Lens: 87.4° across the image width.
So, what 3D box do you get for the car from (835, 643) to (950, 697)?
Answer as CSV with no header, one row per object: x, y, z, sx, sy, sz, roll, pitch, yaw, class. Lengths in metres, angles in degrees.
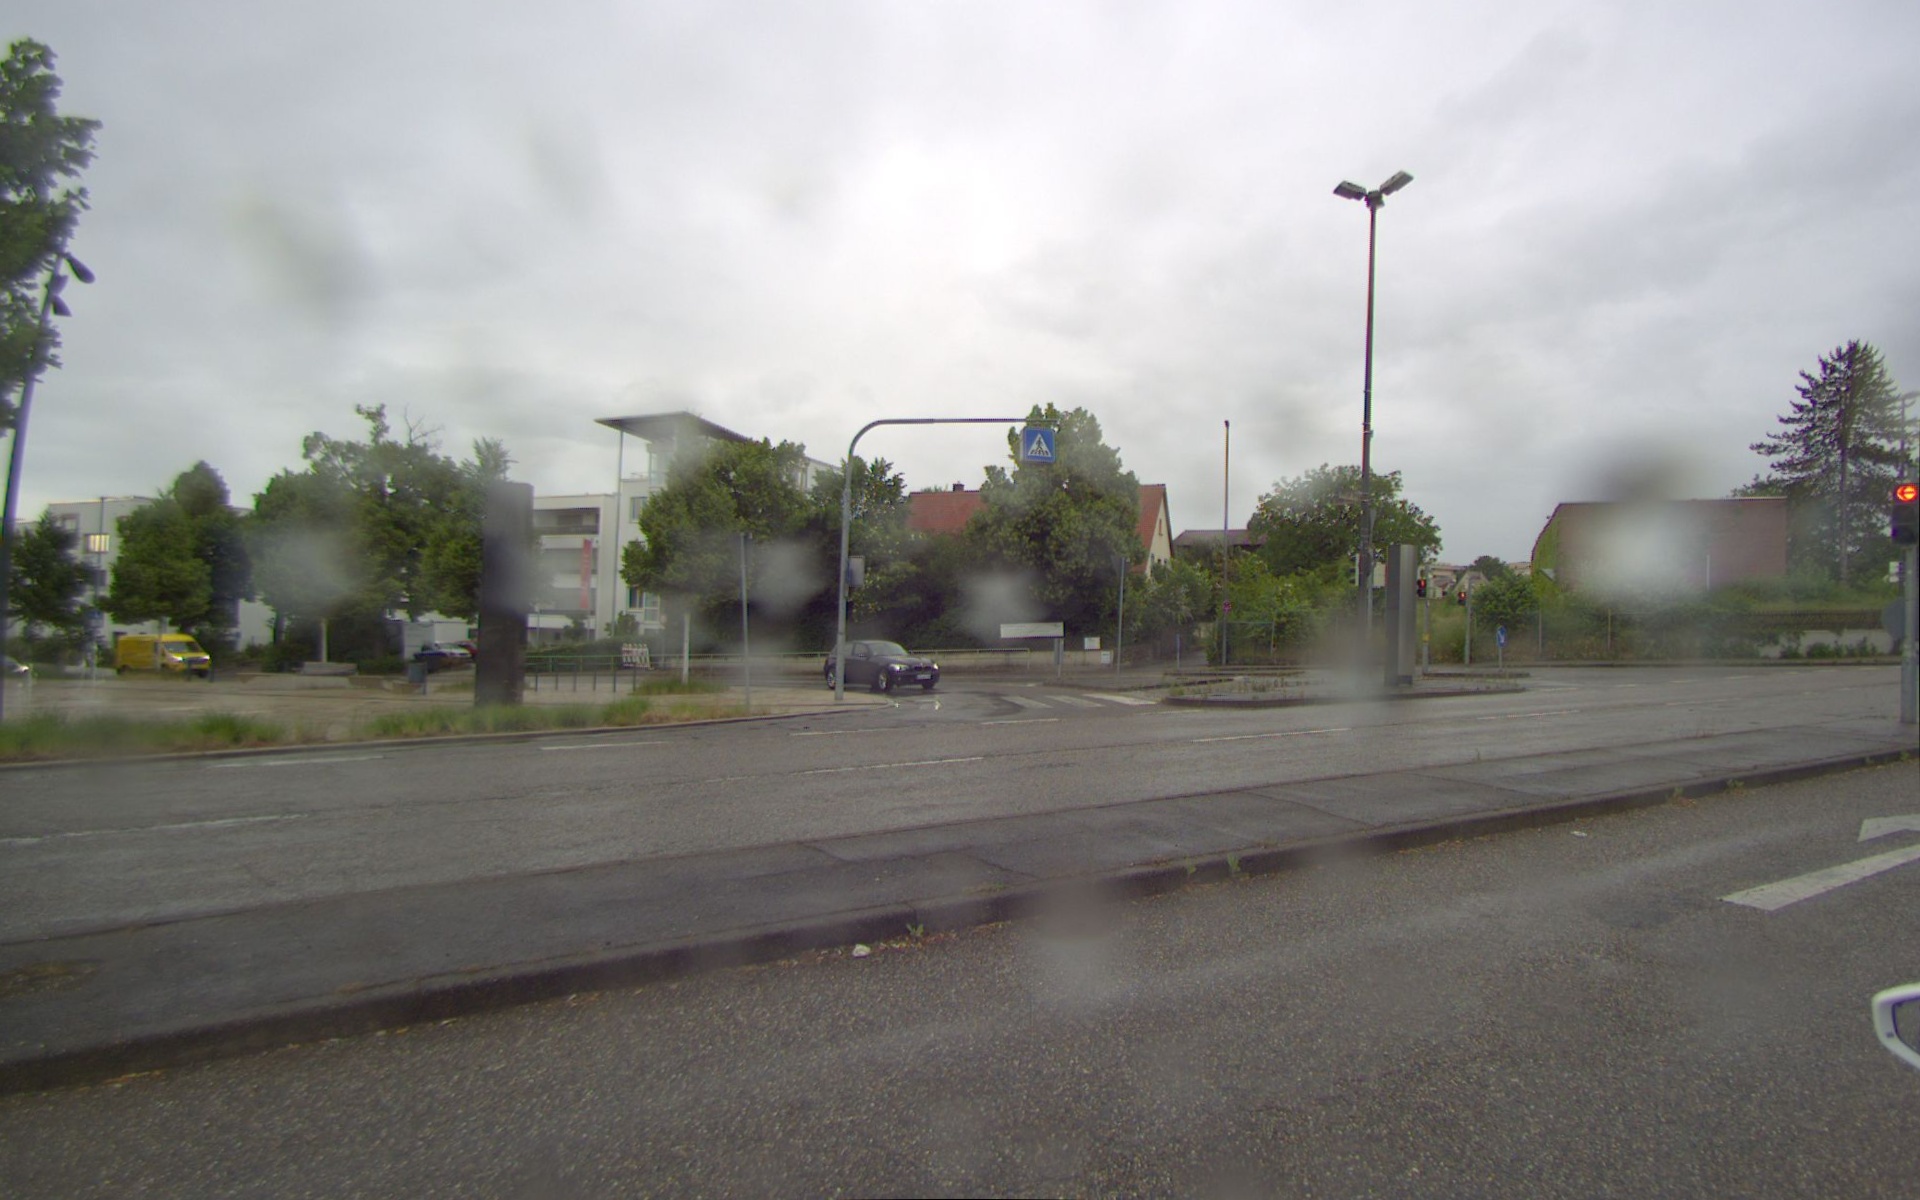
-2.084,2.011,29.737,1.769,1.408,4.248,1,-2,-29,car

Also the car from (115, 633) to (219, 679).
-44.038,3.140,55.764,5.804,2.441,1.999,-2,-3,24,car
